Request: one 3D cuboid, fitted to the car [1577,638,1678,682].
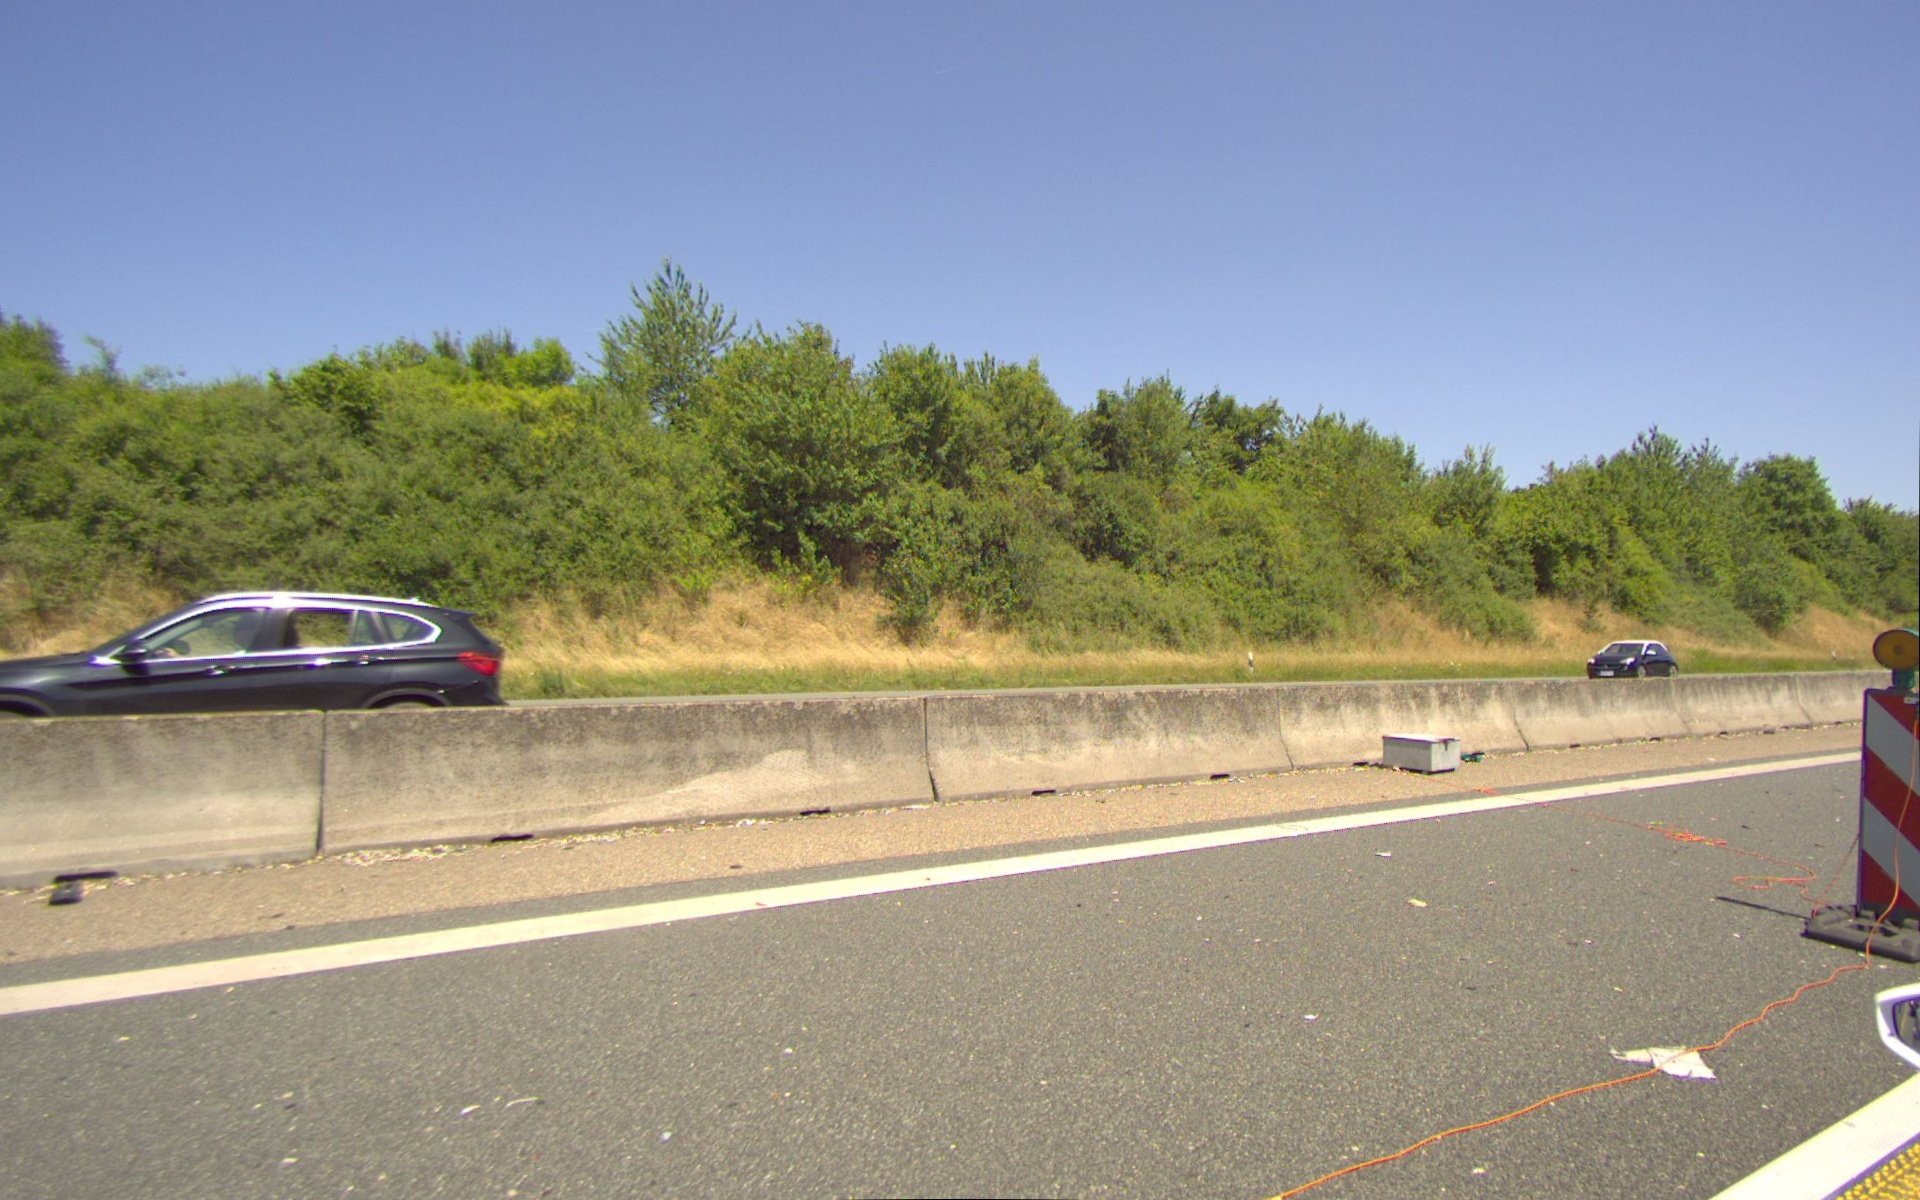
[{"bbox_3d":[23.999,2.119,36.097,3.734,1.484,1.566,2,-2,-30],"label":"car"}]

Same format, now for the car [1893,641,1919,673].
[{"bbox_3d":[49.448,2.929,51.367,3.953,1.568,1.492,2,-2,-30],"label":"car"}]

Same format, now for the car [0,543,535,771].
[{"bbox_3d":[-6.235,0.454,8.651,4.529,1.621,1.984,2,-2,-31],"label":"car"}]
